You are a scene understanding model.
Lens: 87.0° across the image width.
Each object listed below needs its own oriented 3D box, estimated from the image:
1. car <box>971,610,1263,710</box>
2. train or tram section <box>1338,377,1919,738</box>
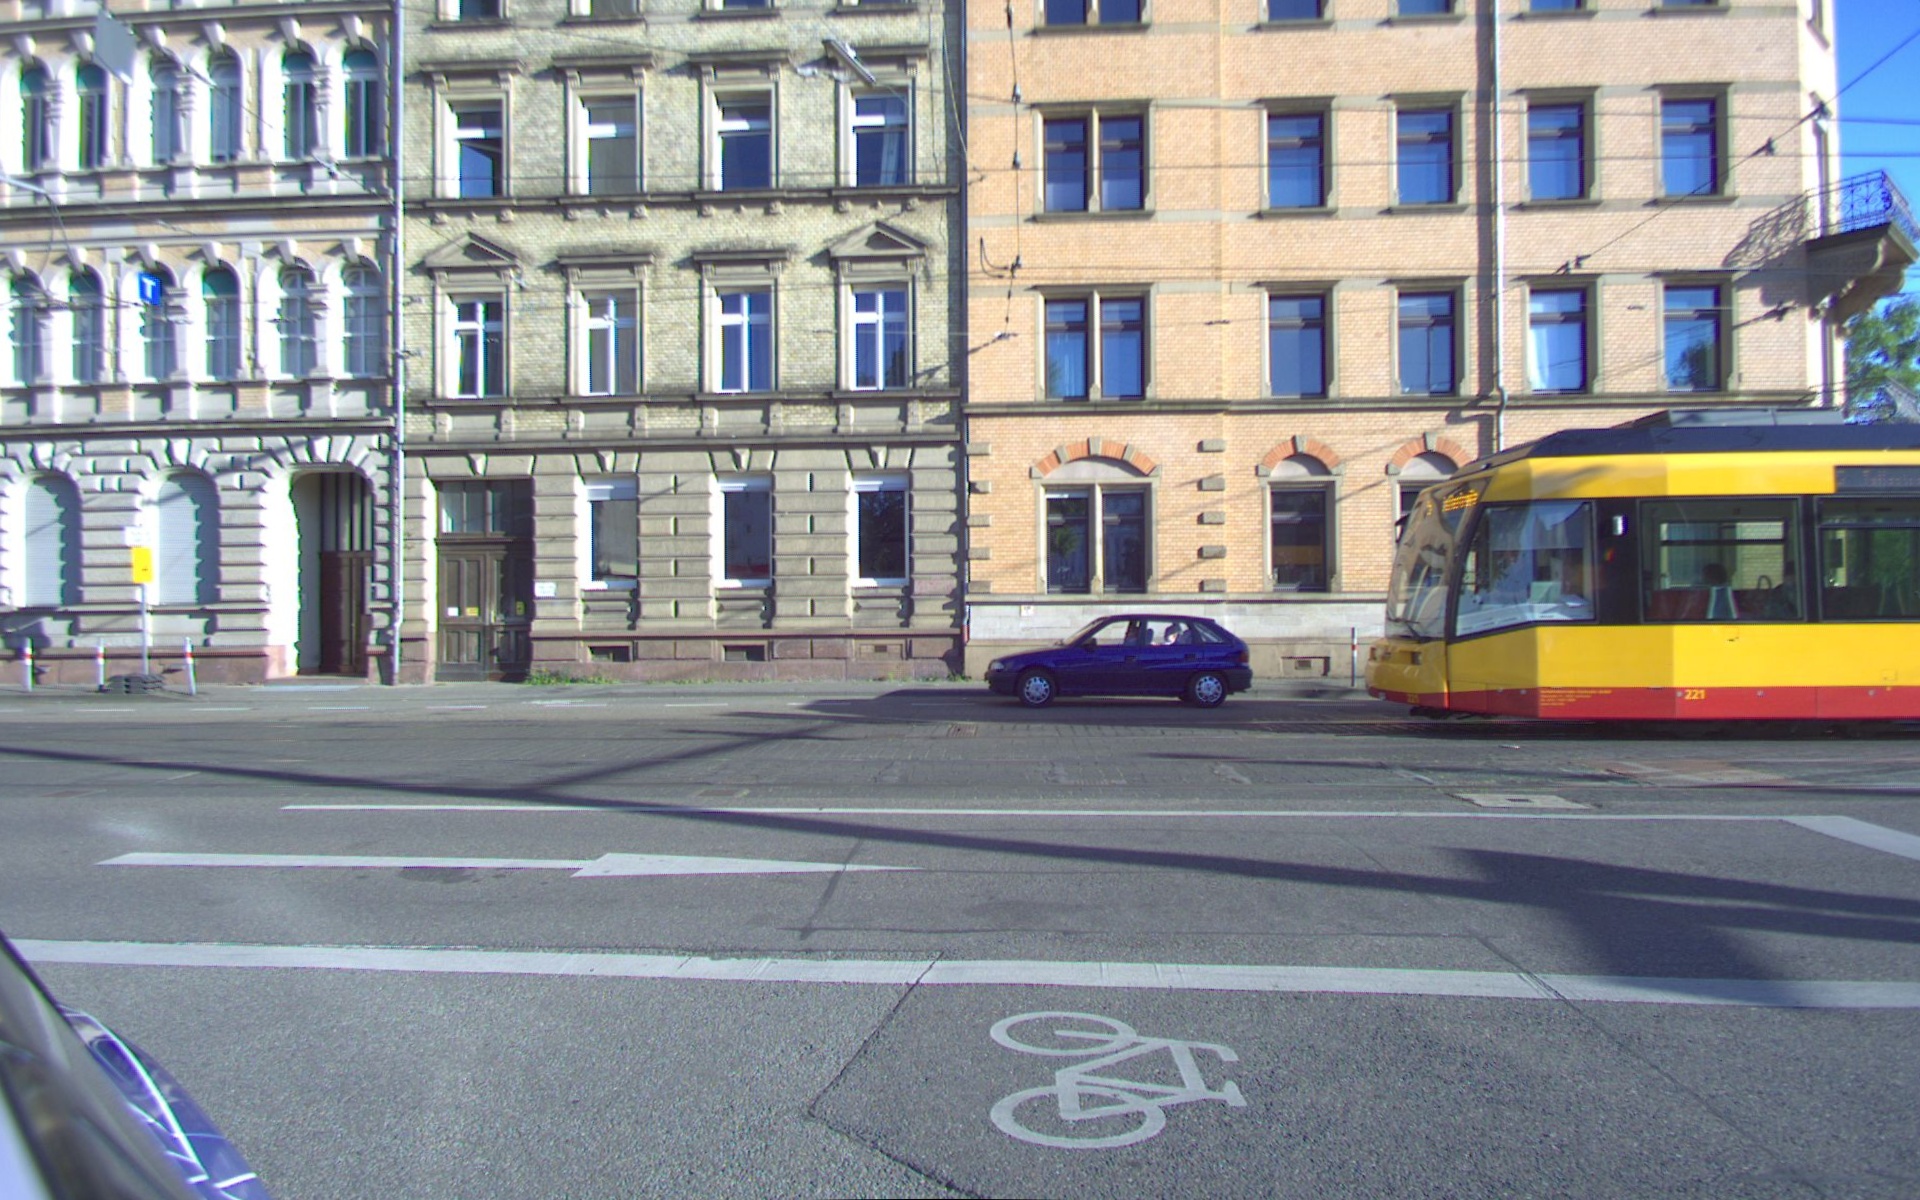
[{"bbox_3d":[2.273,0.882,15.346,4.109,1.390,1.812,-1,-1,4],"label":"car"},{"bbox_3d":[11.254,-0.415,11.237,12.844,3.534,2.867,-1,-1,4],"label":"train or tram section"}]
